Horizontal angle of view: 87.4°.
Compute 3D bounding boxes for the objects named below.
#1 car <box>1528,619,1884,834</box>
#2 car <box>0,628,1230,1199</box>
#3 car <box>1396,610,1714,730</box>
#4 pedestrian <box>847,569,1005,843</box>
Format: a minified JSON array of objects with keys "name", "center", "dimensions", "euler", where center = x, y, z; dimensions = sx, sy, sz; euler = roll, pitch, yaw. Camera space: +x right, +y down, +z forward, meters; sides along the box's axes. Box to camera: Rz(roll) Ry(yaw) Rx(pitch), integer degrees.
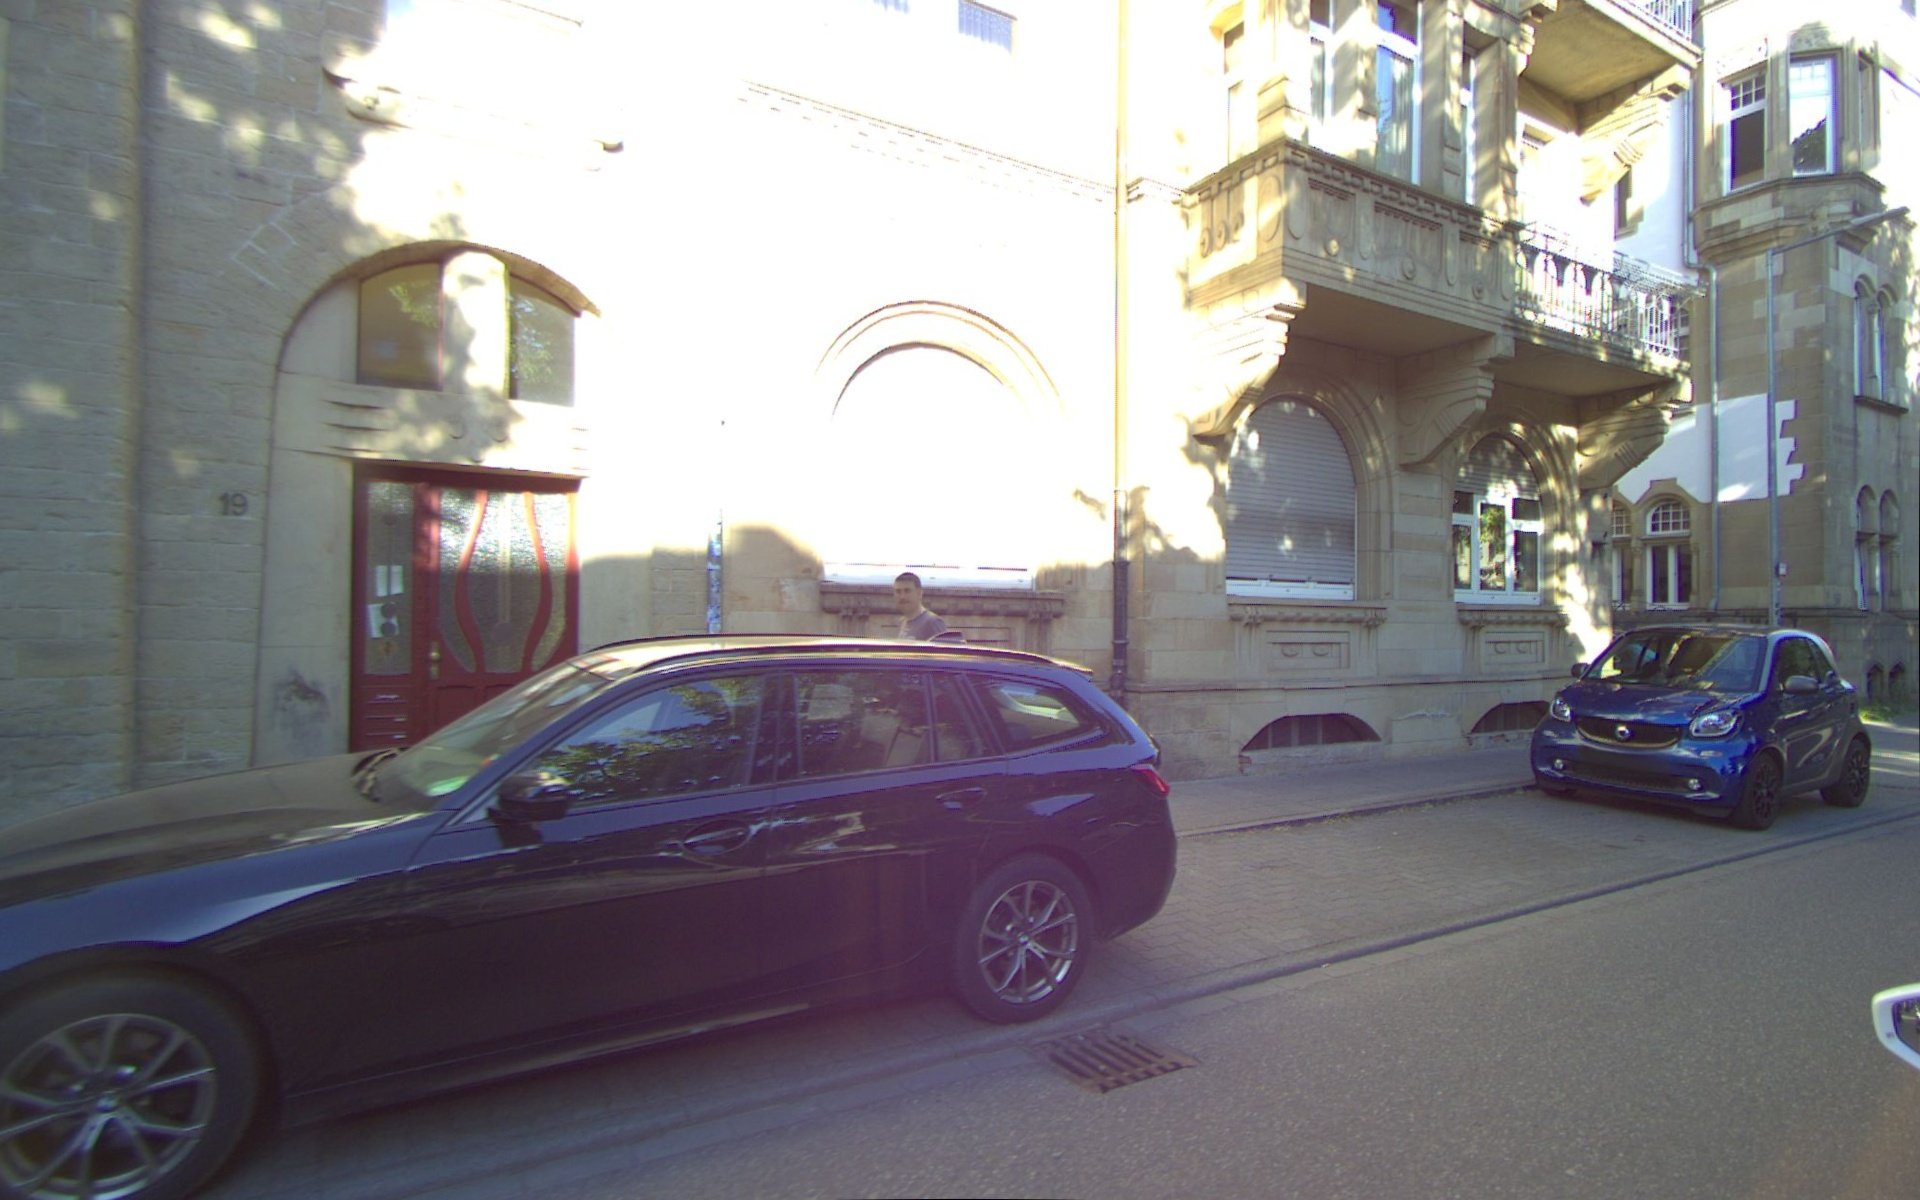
[{"name":"car","center":[6.535,0.960,8.800],"dimensions":[2.706,1.509,1.587],"euler":[1,2,-32]},{"name":"car","center":[-1.180,0.875,3.984],"dimensions":[4.496,1.449,1.667],"euler":[1,1,-30]},{"name":"car","center":[9.452,1.020,16.327],"dimensions":[1.699,1.690,4.178],"euler":[1,-1,-31]},{"name":"pedestrian","center":[-0.256,0.693,7.074],"dimensions":[0.726,1.765,0.934],"euler":[2,-1,-30]}]
